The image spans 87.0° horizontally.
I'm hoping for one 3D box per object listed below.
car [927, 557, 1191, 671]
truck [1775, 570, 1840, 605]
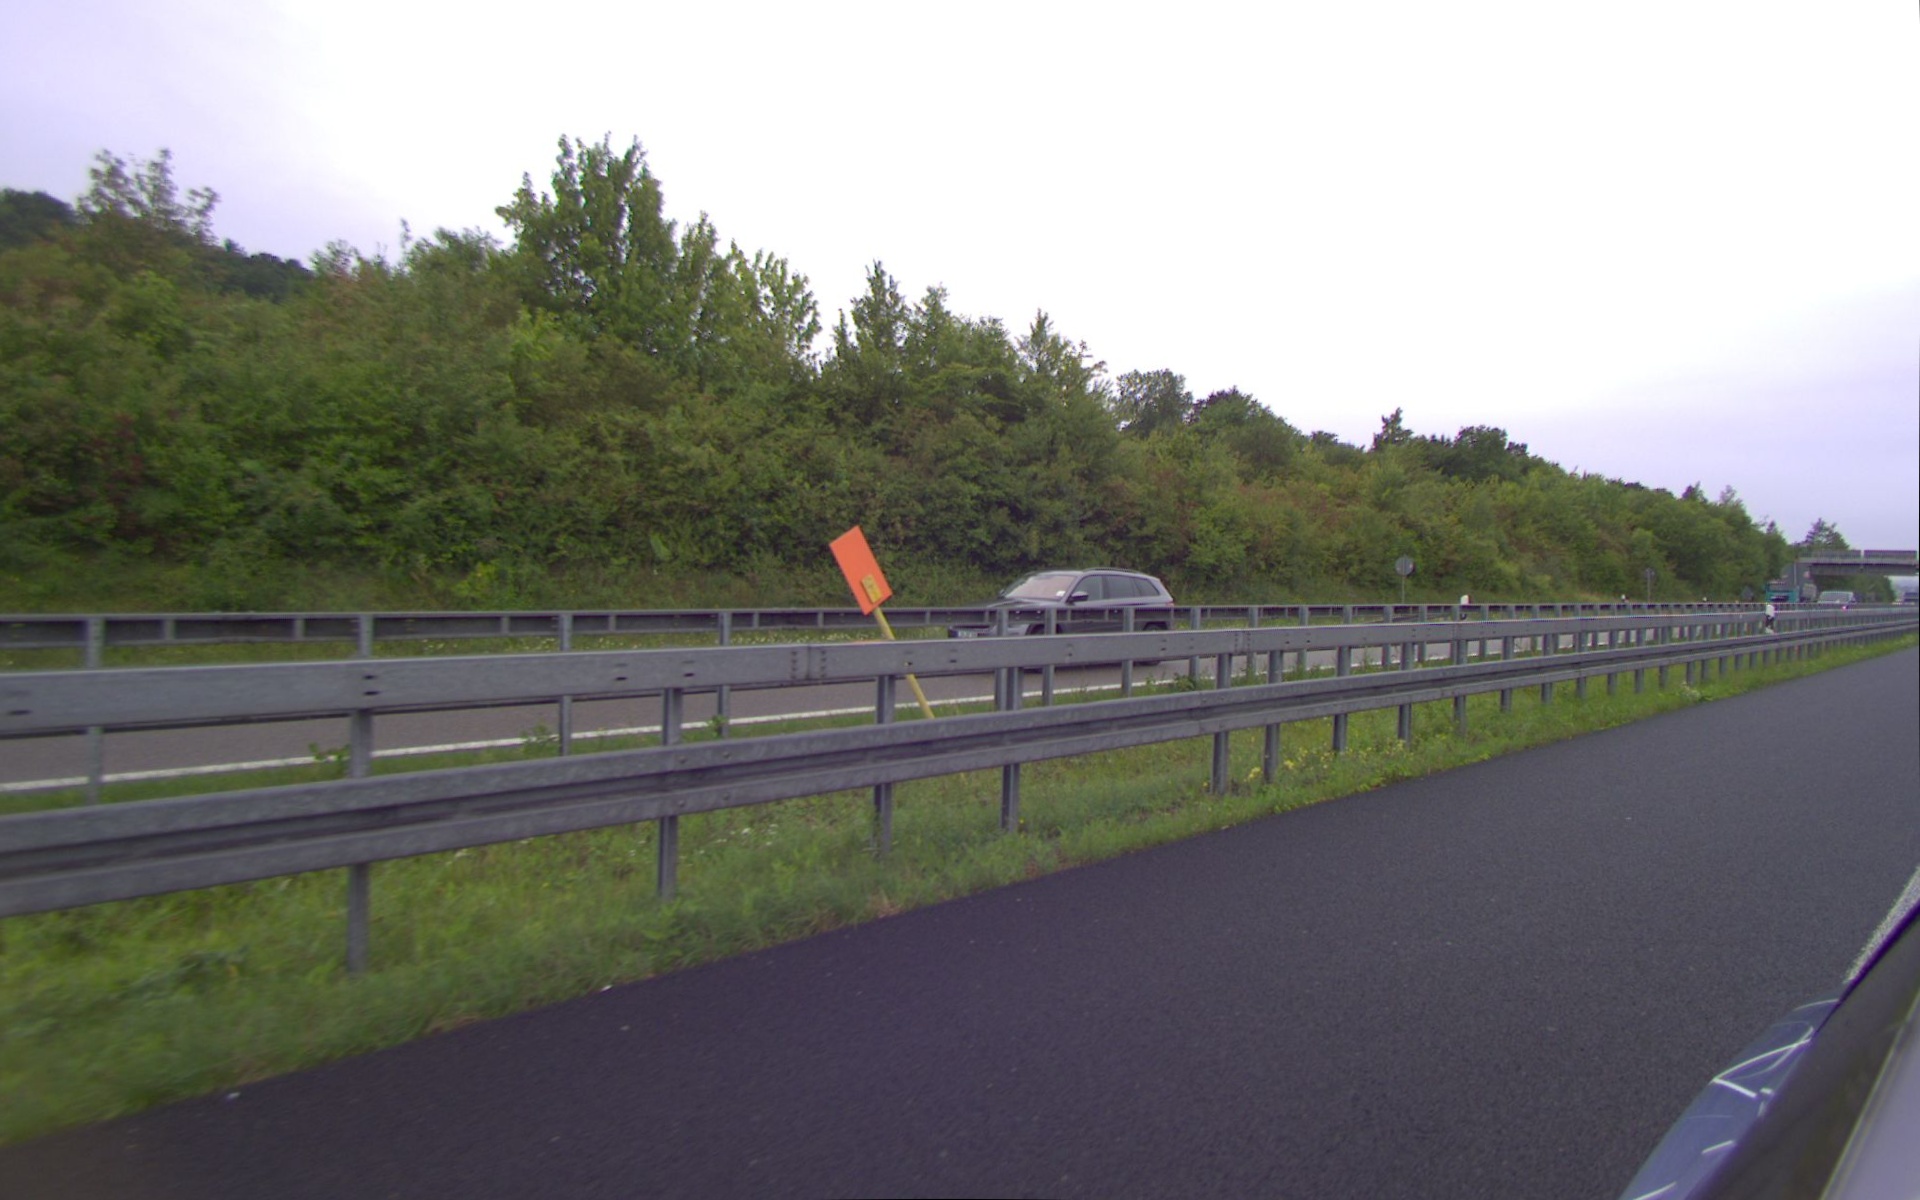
[{"bbox_3d":[1.772,0.174,17.170,4.395,1.676,2.011,0,1,-42],"label":"car"},{"bbox_3d":[89.891,-1.313,107.251,13.114,3.460,2.908,0,1,-39],"label":"truck"}]
